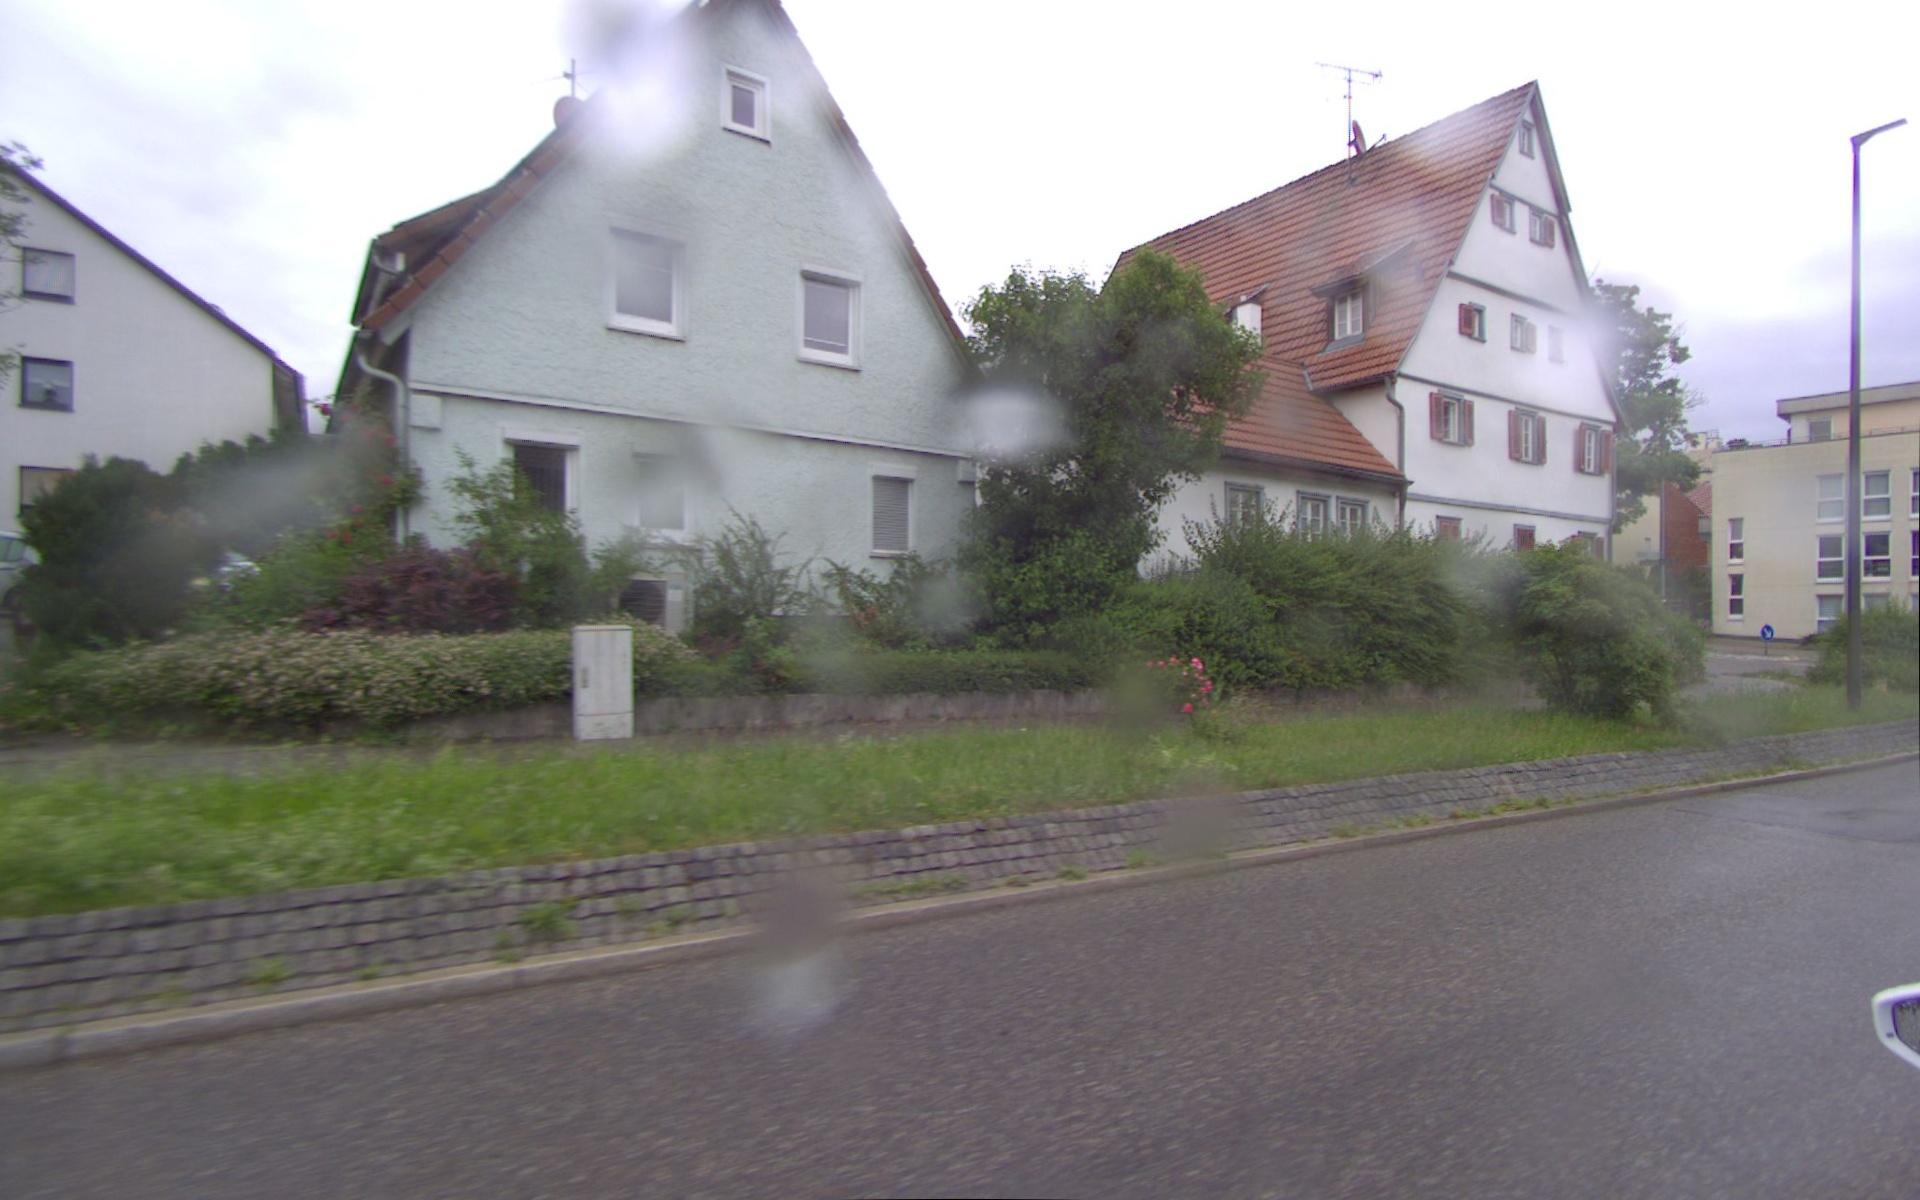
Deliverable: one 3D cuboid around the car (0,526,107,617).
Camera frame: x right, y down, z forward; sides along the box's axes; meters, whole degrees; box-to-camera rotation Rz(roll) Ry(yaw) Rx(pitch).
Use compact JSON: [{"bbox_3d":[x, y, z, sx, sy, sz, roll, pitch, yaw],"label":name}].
[{"bbox_3d":[-18.279,-0.557,18.250,3.955,1.613,1.808,1,1,-32],"label":"car"}]
